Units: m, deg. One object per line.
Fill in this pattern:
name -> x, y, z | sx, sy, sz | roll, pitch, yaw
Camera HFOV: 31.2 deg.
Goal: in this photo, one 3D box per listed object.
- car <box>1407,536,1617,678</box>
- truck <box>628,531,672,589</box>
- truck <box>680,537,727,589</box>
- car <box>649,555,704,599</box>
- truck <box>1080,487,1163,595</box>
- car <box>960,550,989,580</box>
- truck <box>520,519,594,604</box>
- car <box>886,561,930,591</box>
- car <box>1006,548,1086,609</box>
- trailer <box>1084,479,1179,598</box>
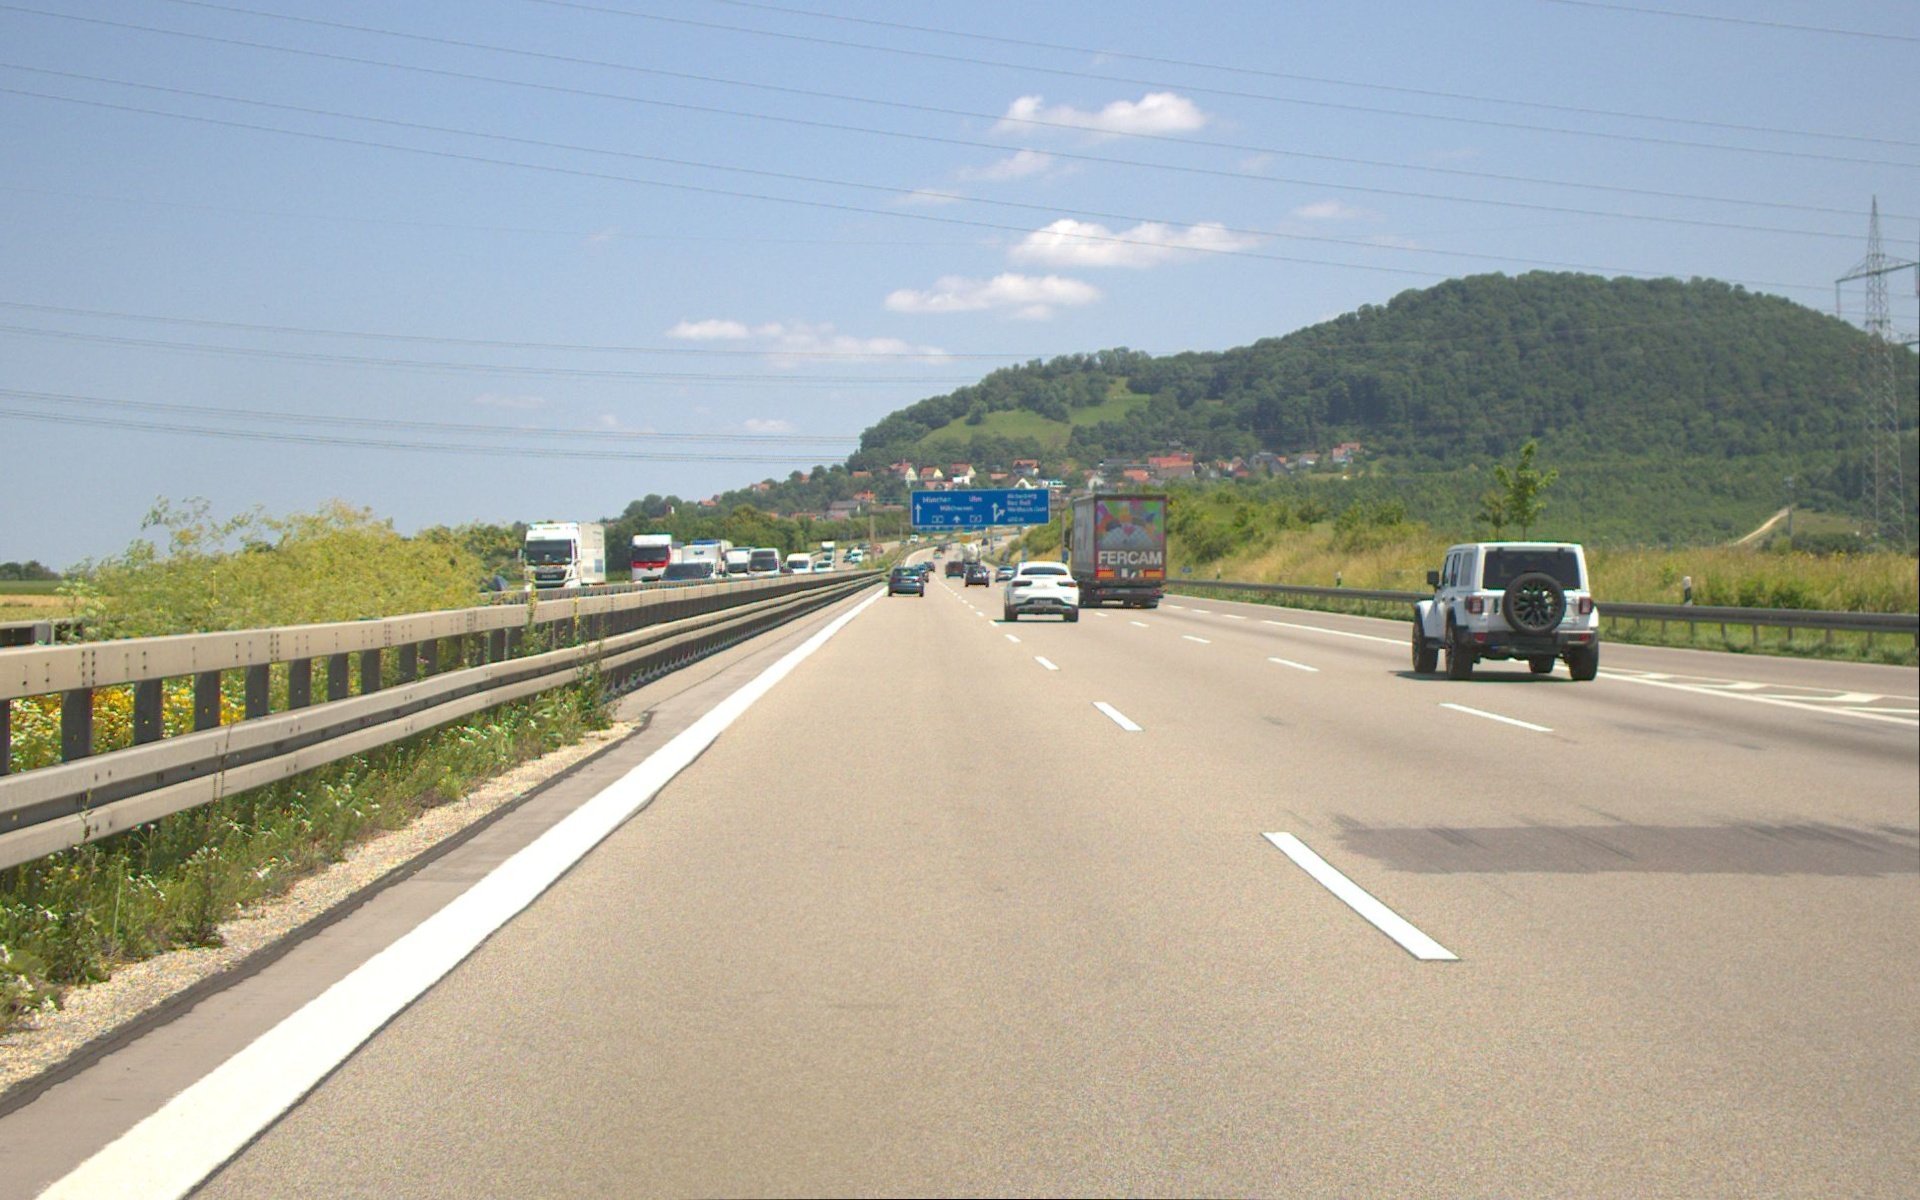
car -> 7.452, 0.061, 46.802 | 2.034, 1.798, 4.251 | -2, 1, -1
truck -> -20.098, -2.559, 222.934 | 2.717, 3.678, 6.057 | 1, 0, -4
truck -> -15.375, -2.228, 206.451 | 2.249, 2.999, 7.428 | -2, 0, -1
car -> -11.244, -0.907, 136.451 | 1.810, 1.635, 4.428 | -2, 0, -1
truck -> 6.168, -2.230, 132.293 | 2.752, 4.007, 6.789 | 1, 0, -1
car -> 0.984, -2.382, 234.998 | 1.993, 2.007, 4.000 | 1, 0, 0
truck -> -19.205, -1.824, 164.127 | 2.939, 3.917, 6.477 | 1, 0, -2
car -> -2.451, -1.126, 162.033 | 1.993, 1.384, 4.000 | 1, 0, 0
car -> 2.283, -0.577, 92.301 | 1.914, 1.575, 5.231 | 1, 0, -1
trailer -> 6.223, -2.190, 126.311 | 2.725, 4.141, 11.808 | 1, 0, 0
